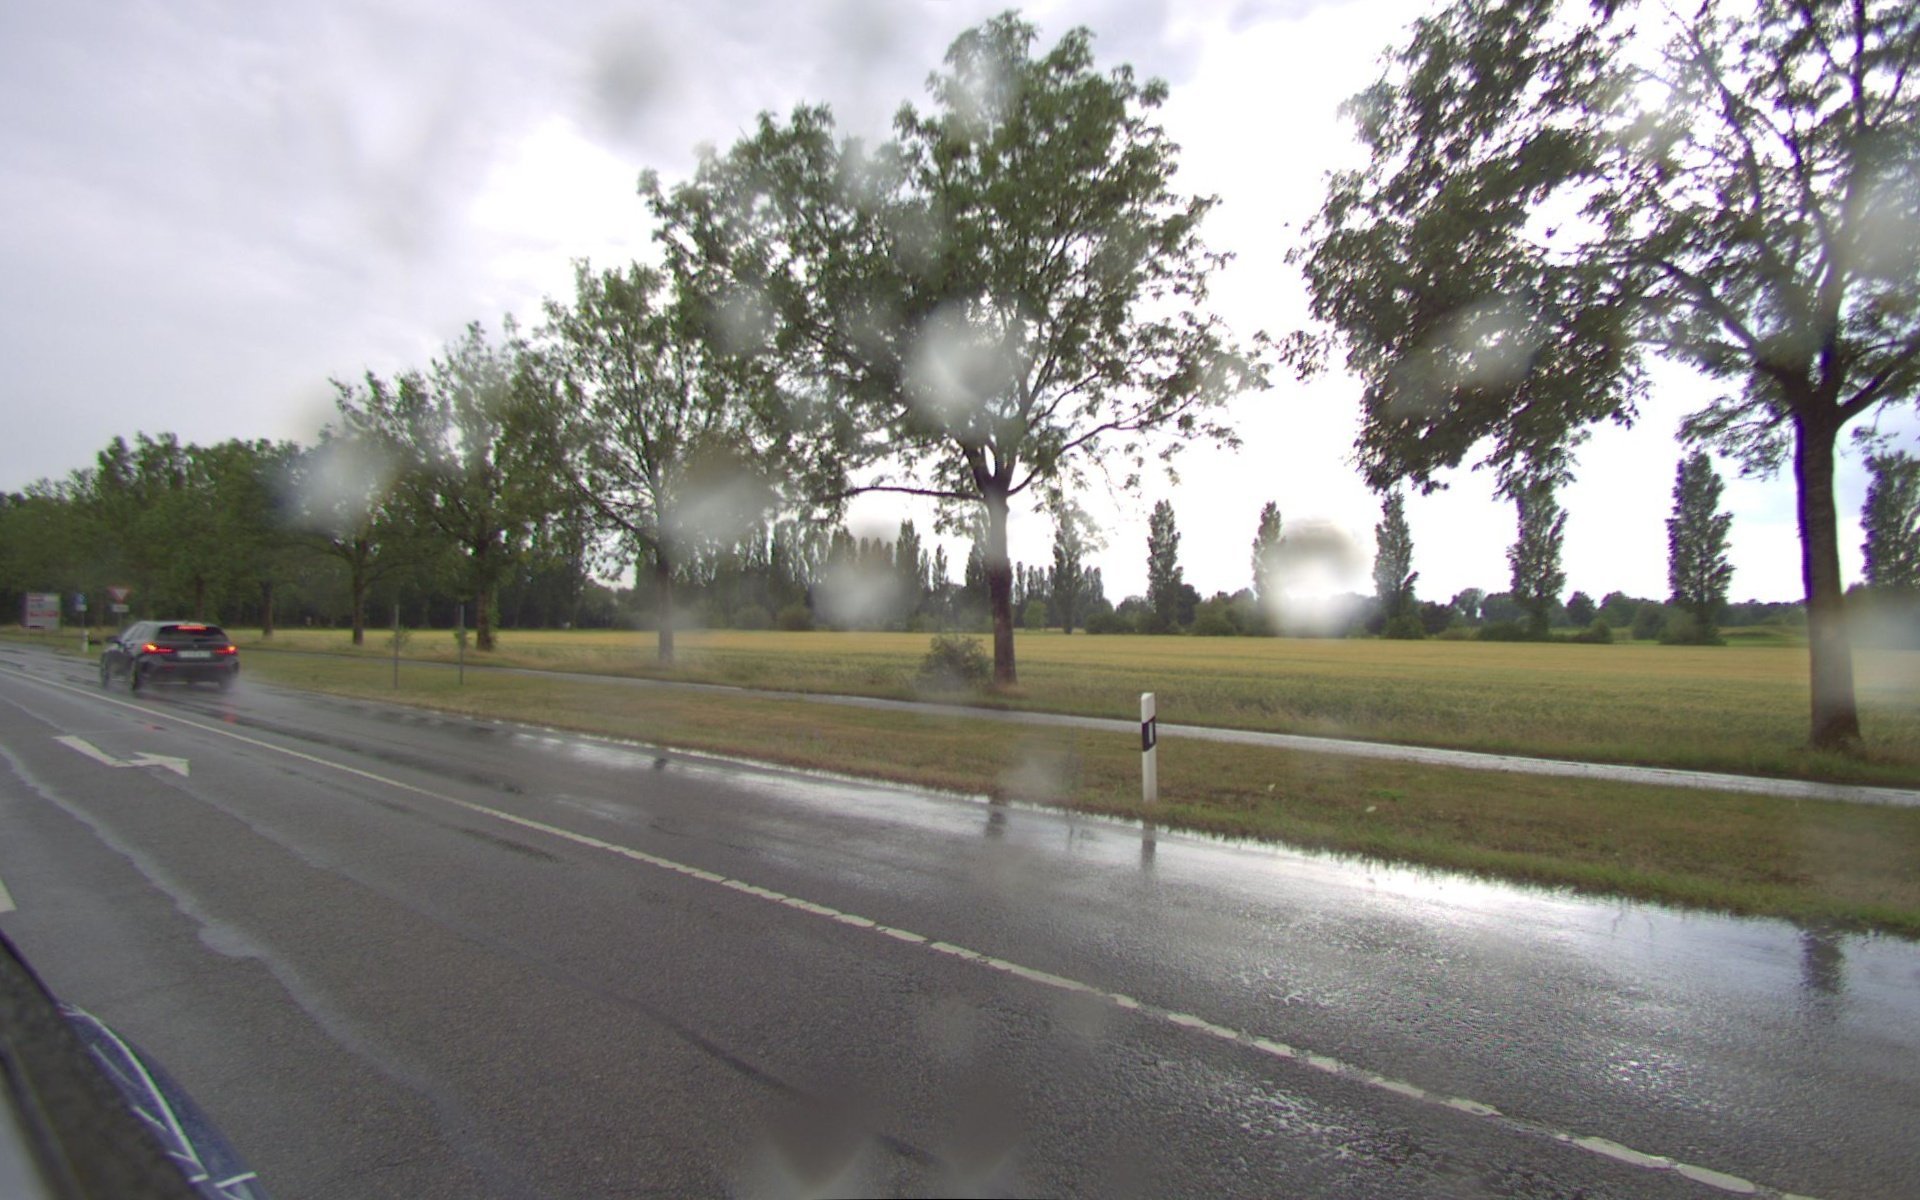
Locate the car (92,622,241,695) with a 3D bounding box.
[{"bbox_3d":[-17.065,1.209,21.697,4.041,1.415,1.702,-1,-4,41],"label":"car"}]
